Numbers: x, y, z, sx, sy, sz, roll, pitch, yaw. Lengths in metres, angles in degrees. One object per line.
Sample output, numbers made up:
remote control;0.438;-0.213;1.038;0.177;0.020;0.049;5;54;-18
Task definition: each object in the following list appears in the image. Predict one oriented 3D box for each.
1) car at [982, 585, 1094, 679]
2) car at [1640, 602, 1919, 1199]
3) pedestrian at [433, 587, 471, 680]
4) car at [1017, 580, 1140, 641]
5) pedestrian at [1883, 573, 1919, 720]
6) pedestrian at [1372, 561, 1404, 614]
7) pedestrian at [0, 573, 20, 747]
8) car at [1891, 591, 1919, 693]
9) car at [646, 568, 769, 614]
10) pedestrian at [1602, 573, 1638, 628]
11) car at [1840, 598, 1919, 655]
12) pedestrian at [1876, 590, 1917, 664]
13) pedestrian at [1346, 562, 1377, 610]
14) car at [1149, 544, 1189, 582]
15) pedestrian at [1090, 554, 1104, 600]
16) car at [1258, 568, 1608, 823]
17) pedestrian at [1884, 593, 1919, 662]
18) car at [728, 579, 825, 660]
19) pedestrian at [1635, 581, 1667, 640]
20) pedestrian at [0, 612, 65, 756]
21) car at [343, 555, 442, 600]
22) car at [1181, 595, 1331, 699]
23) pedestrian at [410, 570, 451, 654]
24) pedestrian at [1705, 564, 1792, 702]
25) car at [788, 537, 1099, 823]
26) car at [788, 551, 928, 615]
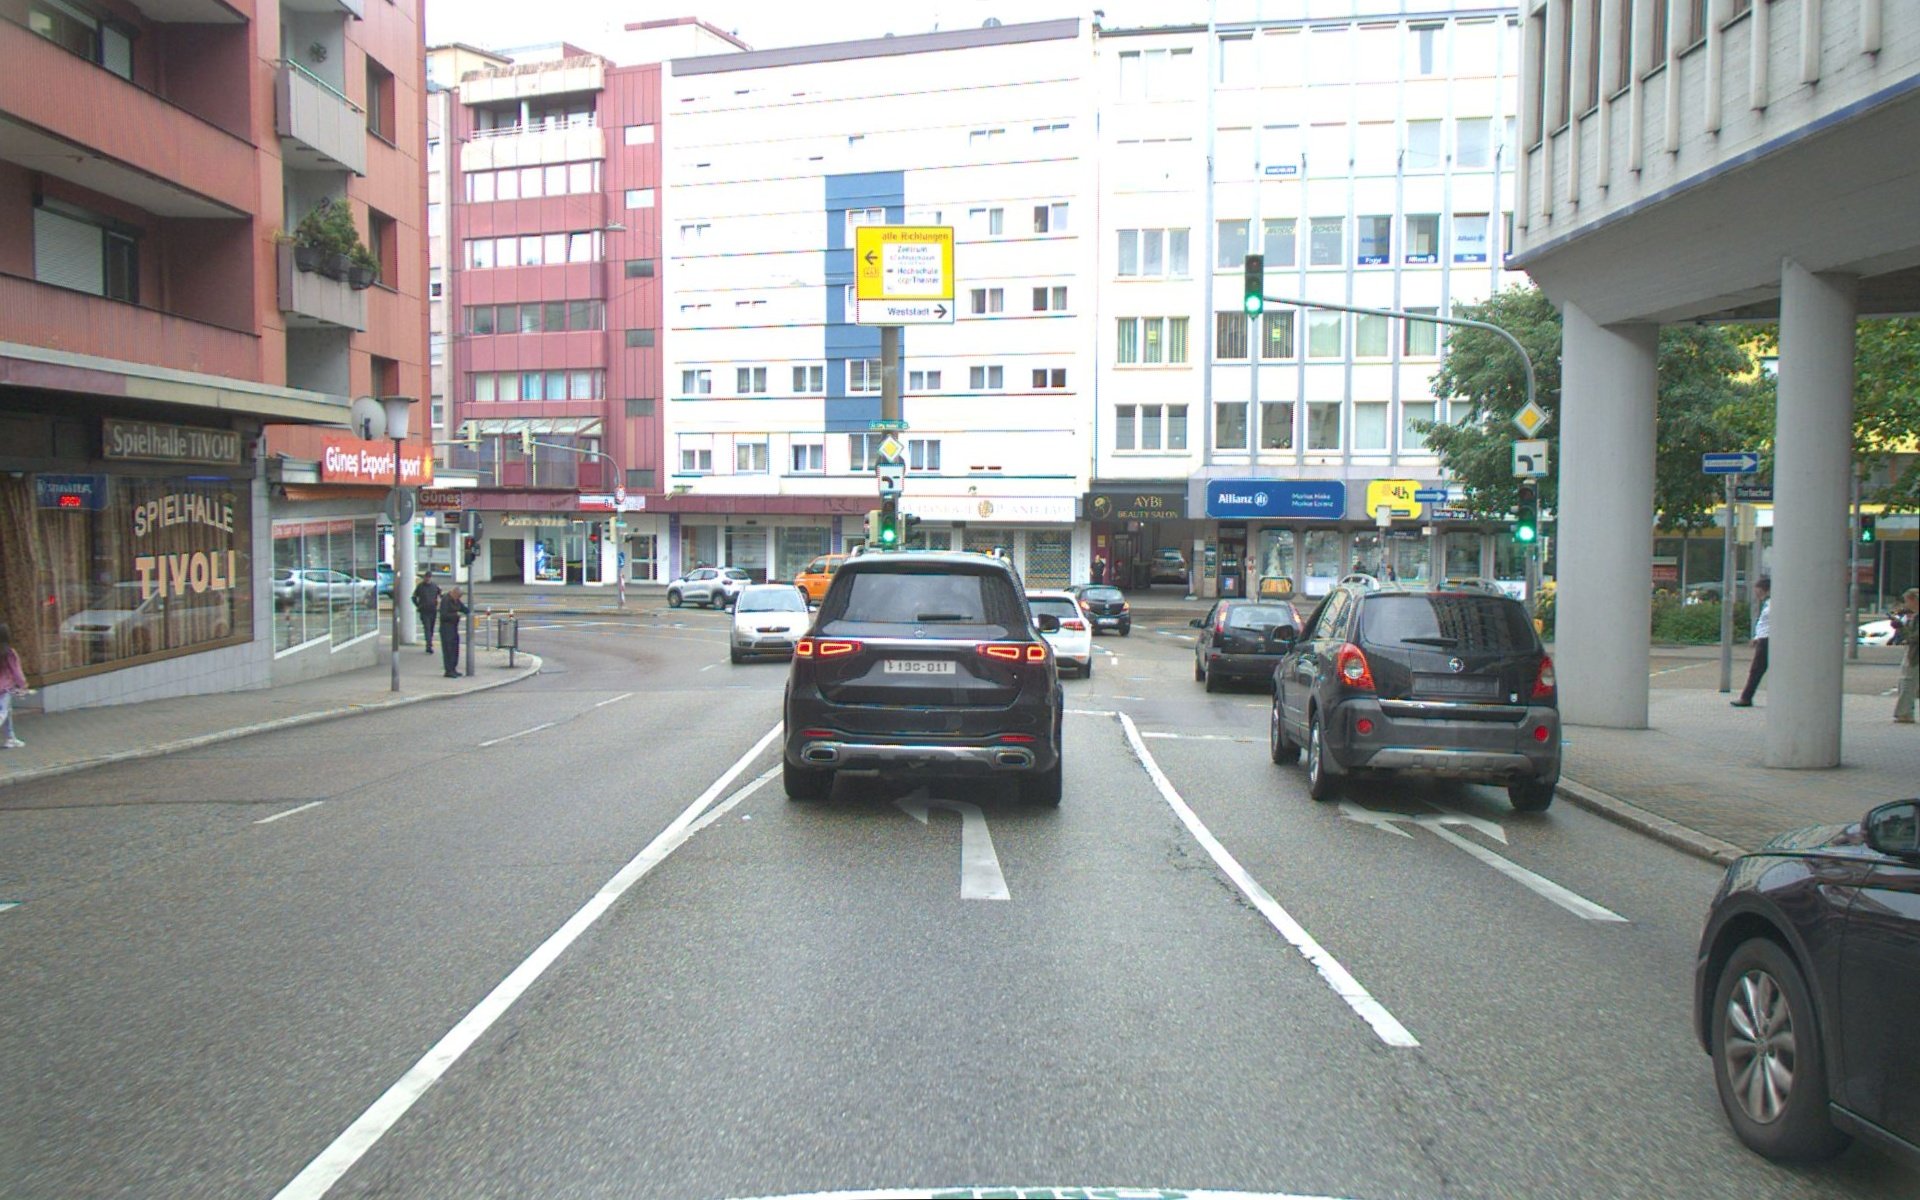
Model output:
car;1.463;0.512;29.864;1.834;1.521;4.403;2;0;4
car;3.146;0.825;3.458;1.654;1.502;3.999;3;0;-1
pedestrian;-9.516;0.614;30.994;0.543;1.727;0.623;0;0;-4
car;3.503;0.297;49.639;1.799;1.687;4.463;2;0;-23
pedestrian;11.517;0.542;19.731;0.706;1.719;0.830;-2;-1;21
pedestrian;15.645;-0.459;60.438;1.008;1.829;0.831;0;6;8
pedestrian;-9.876;0.581;16.287;0.812;1.719;0.722;2;0;-9
car;16.372;0.645;23.984;4.764;1.520;1.847;1;1;41
car;-9.349;-0.343;61.013;4.576;1.542;1.921;2;-1;40
pedestrian;23.285;0.009;58.369;0.874;1.859;0.676;5;-1;-17
car;28.327;0.791;48.464;4.099;1.437;1.832;2;6;14
pedestrian;24.519;0.710;43.307;0.697;1.859;0.679;3;-3;13
pedestrian;14.949;-0.528;61.618;1.008;1.717;0.831;0;6;8
car;9.669;-1.690;76.400;1.759;1.699;4.003;0;1;8
pedestrian;5.380;-0.897;64.817;0.552;1.717;0.757;0;6;6
car;3.753;0.666;13.977;1.858;1.724;4.507;2;0;3
pedestrian;24.304;0.708;42.577;0.697;1.706;0.679;3;-3;13
car;-3.970;0.411;36.357;1.700;1.620;4.174;-2;0;-1
pedestrian;22.462;0.328;53.758;0.807;1.858;0.890;4;2;27
pedestrian;-9.172;0.803;16.129;0.523;1.346;0.722;2;0;-9
car;-26.884;-1.066;78.384;4.078;1.869;2.000;3;0;22
car;4.715;0.697;26.838;1.731;1.421;4.001;4;1;1
pedestrian;-11.916;0.263;37.232;0.752;1.881;0.836;0;0;-28
pedestrian;10.906;0.450;22.895;0.707;1.849;0.829;-2;-1;-7
car;-0.186;0.505;13.186;1.998;1.830;4.661;2;0;-2
car;-3.869;-0.669;62.117;5.336;2.267;2.234;2;0;44
